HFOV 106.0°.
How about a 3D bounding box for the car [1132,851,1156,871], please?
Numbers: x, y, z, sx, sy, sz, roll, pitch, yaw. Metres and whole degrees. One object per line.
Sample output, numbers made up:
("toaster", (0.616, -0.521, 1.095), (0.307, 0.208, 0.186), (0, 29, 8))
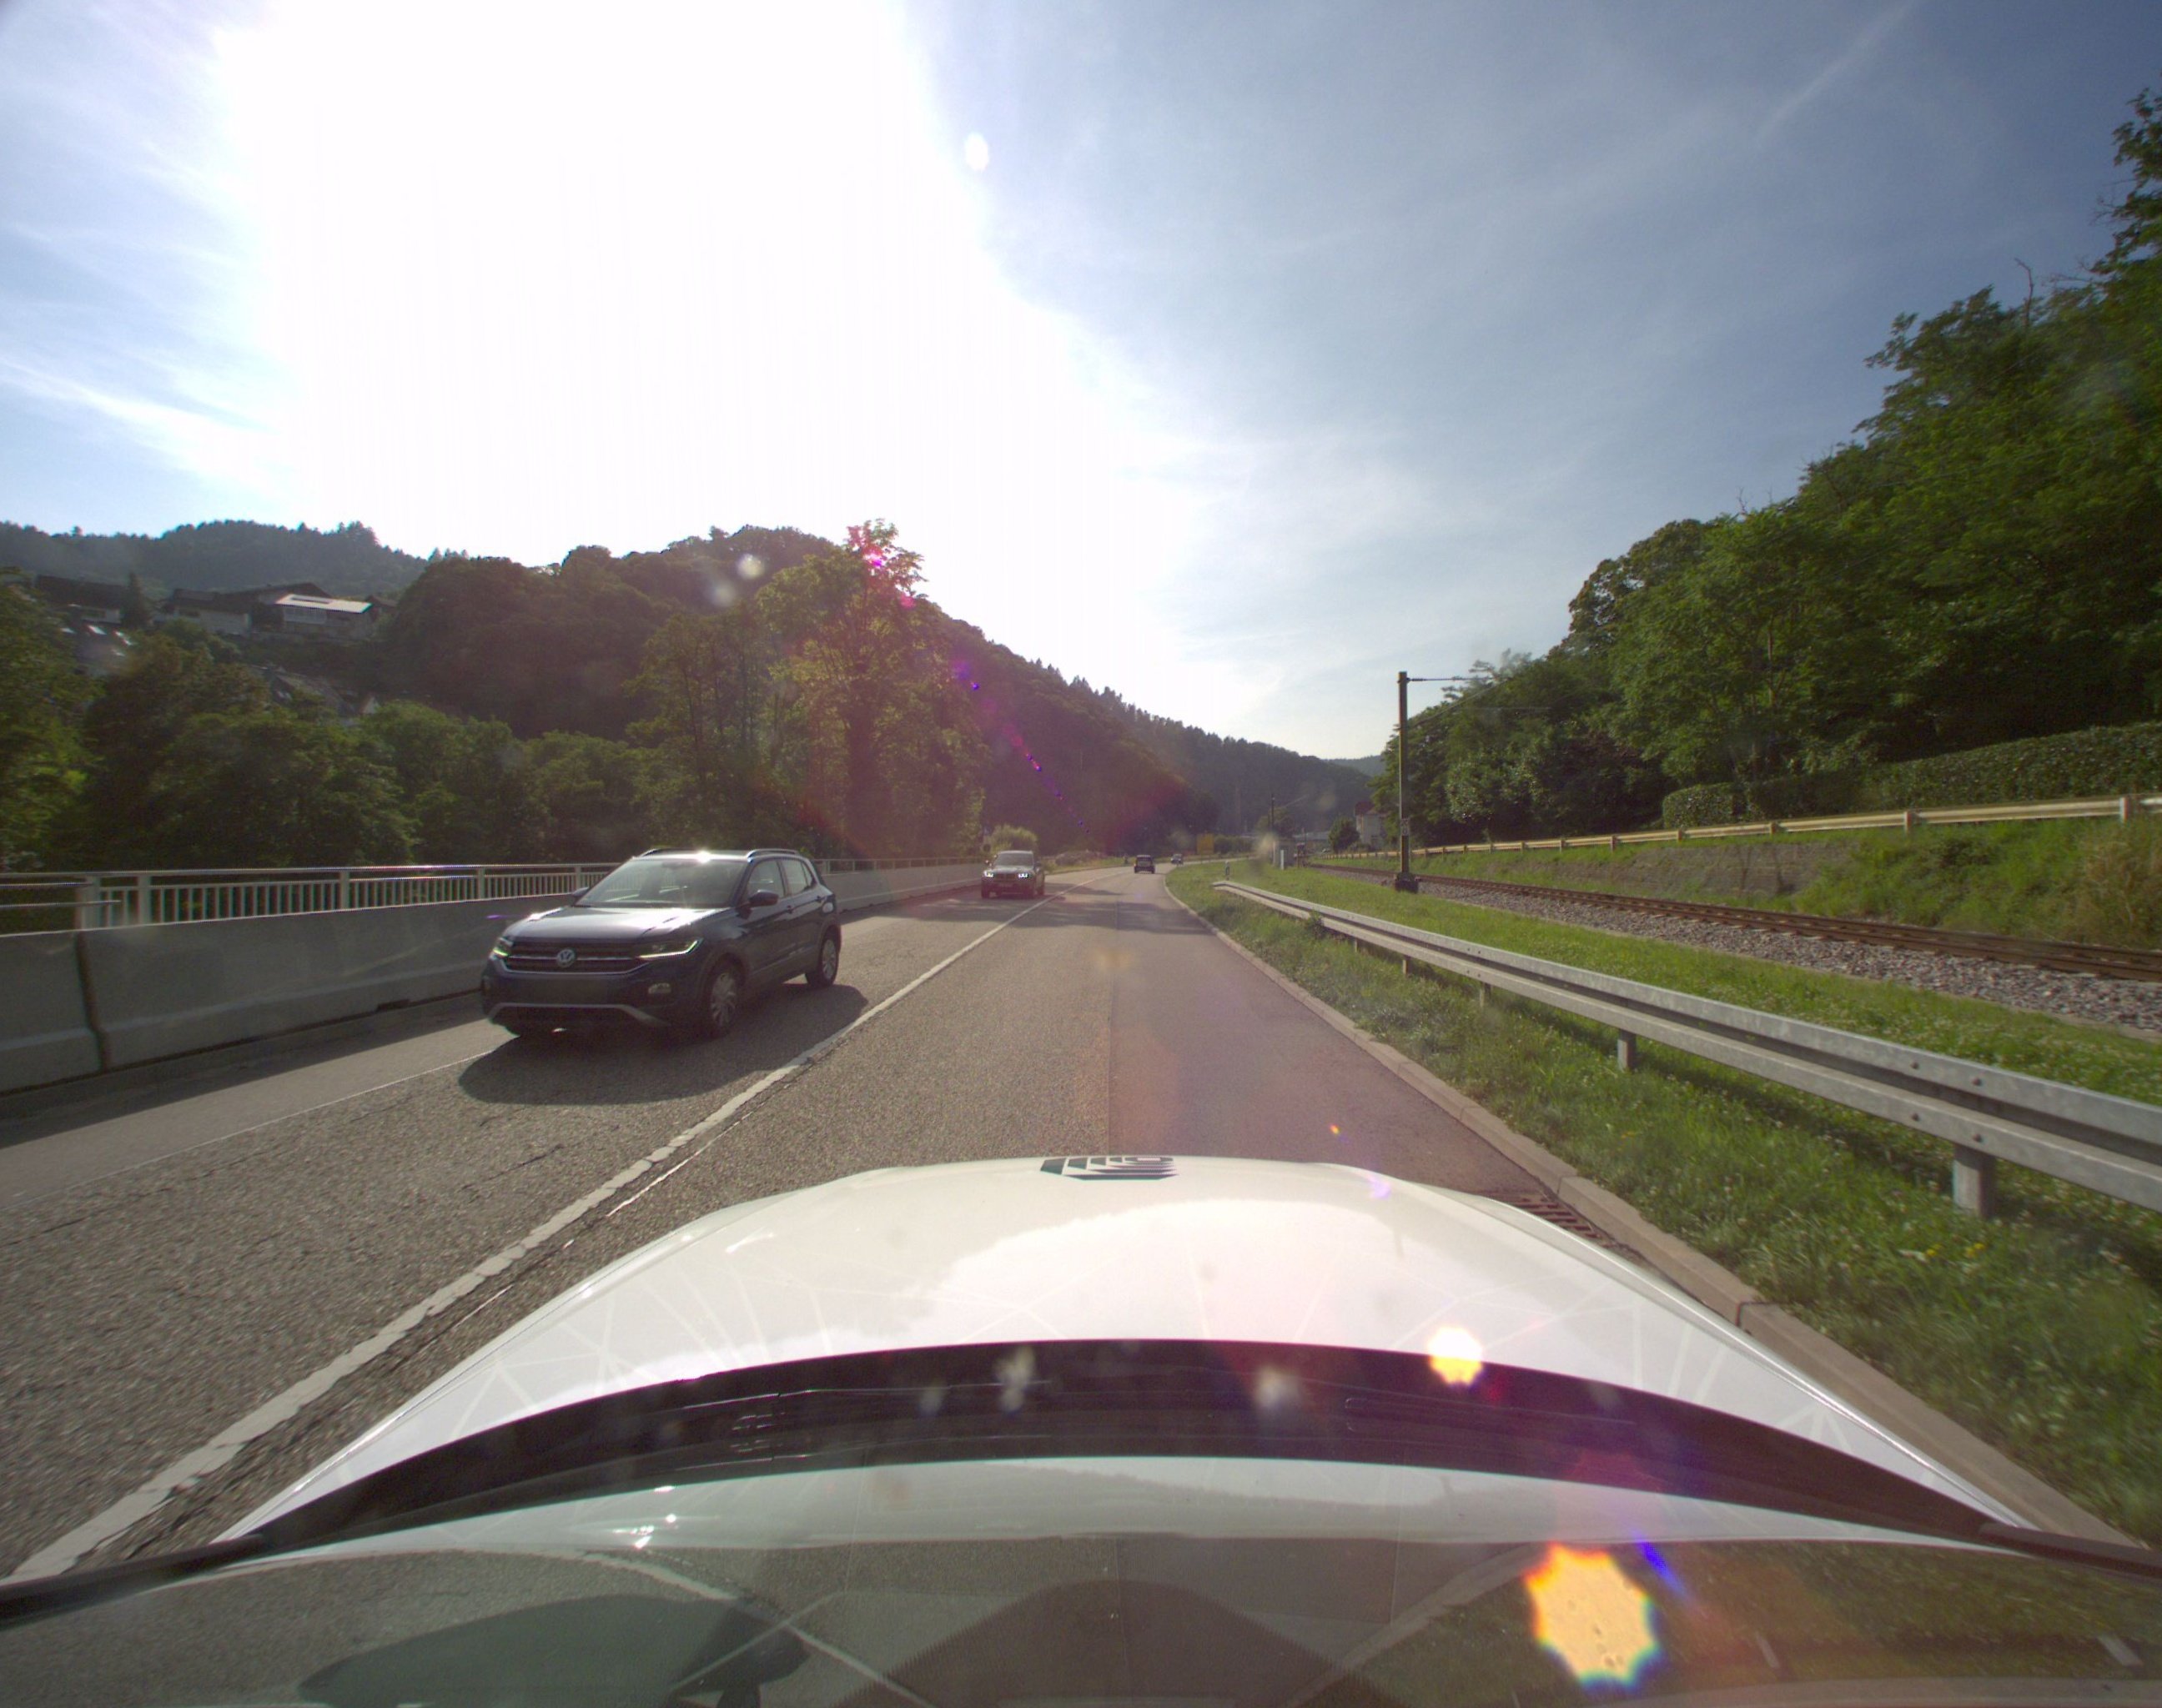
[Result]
("car", (5.850, 0.681, 75.260), (1.983, 1.723, 3.998), (-2, -1, 7))

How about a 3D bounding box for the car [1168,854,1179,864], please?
("car", (16.643, 0.952, 146.420), (1.840, 1.784, 4.696), (1, 0, 9))

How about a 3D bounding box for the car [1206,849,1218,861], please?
("car", (24.271, 0.164, 150.687), (1.981, 2.013, 4.011), (-3, 0, 10))

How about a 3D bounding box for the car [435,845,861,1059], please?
("car", (-3.740, 0.706, 8.090), (1.792, 1.556, 4.333), (0, 0, 2))

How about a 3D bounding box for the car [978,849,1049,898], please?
("car", (-2.334, 0.650, 29.522), (1.985, 1.629, 4.510), (0, 0, 3))

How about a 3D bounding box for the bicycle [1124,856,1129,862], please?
("bicycle", (6.583, 0.761, 117.422), (0.536, 0.881, 2.258), (1, 0, 8))

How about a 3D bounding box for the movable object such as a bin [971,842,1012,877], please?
("movable object such as a bin", (-10.881, 0.686, 99.974), (2.685, 3.947, 10.008), (-2, -1, 7))

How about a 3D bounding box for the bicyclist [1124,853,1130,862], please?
("bicyclist", (6.637, 0.476, 117.439), (0.680, 1.225, 0.860), (0, 0, 8))
